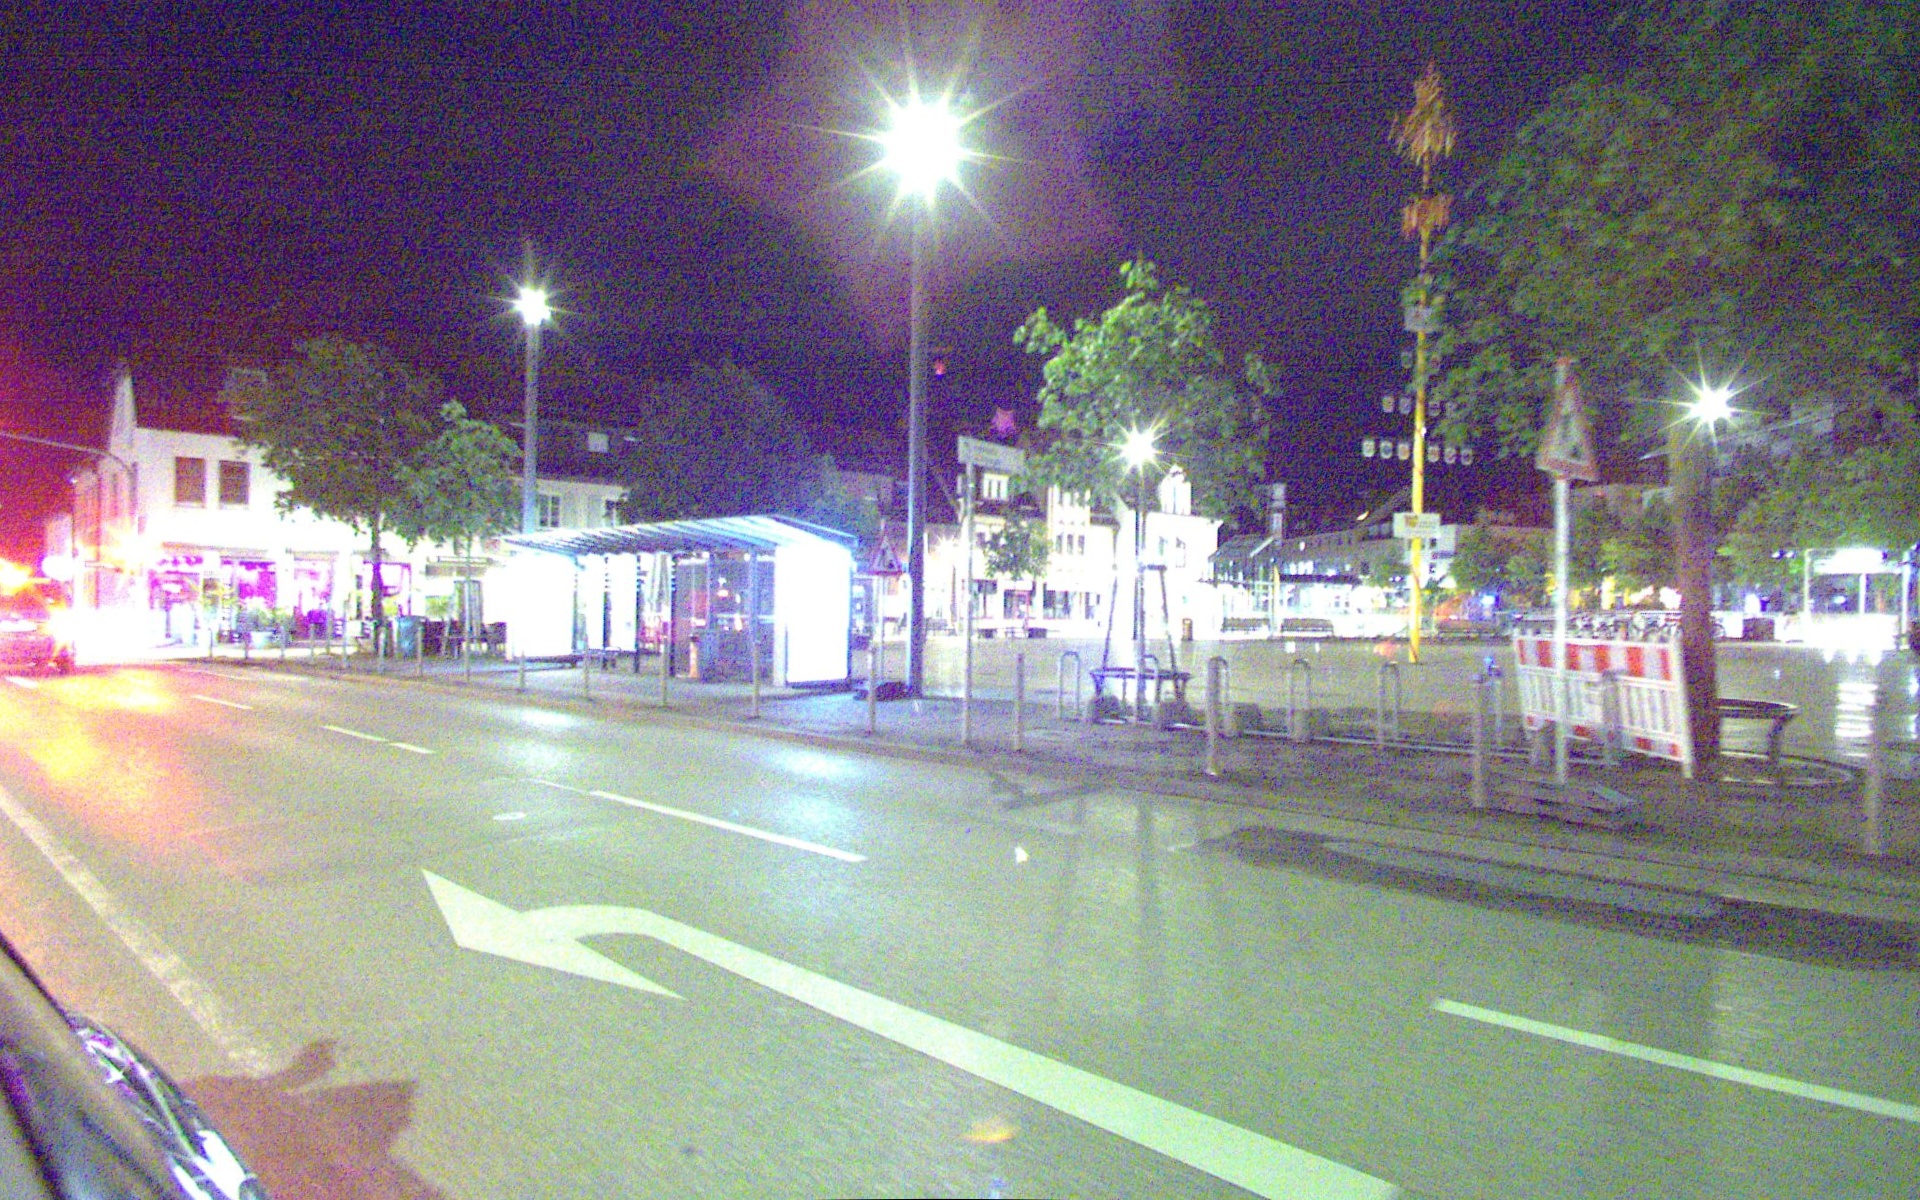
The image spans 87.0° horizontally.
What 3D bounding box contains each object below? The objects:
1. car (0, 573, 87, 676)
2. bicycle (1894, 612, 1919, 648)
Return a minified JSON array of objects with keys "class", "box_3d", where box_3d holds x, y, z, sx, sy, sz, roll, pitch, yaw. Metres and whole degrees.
[{"class":"car","box_3d":[-19.351,0.453,20.285,4.906,1.886,1.947,0,-1,39]},{"class":"bicycle","box_3d":[26.186,0.803,27.179,1.525,0.965,0.476,0,0,25]}]
